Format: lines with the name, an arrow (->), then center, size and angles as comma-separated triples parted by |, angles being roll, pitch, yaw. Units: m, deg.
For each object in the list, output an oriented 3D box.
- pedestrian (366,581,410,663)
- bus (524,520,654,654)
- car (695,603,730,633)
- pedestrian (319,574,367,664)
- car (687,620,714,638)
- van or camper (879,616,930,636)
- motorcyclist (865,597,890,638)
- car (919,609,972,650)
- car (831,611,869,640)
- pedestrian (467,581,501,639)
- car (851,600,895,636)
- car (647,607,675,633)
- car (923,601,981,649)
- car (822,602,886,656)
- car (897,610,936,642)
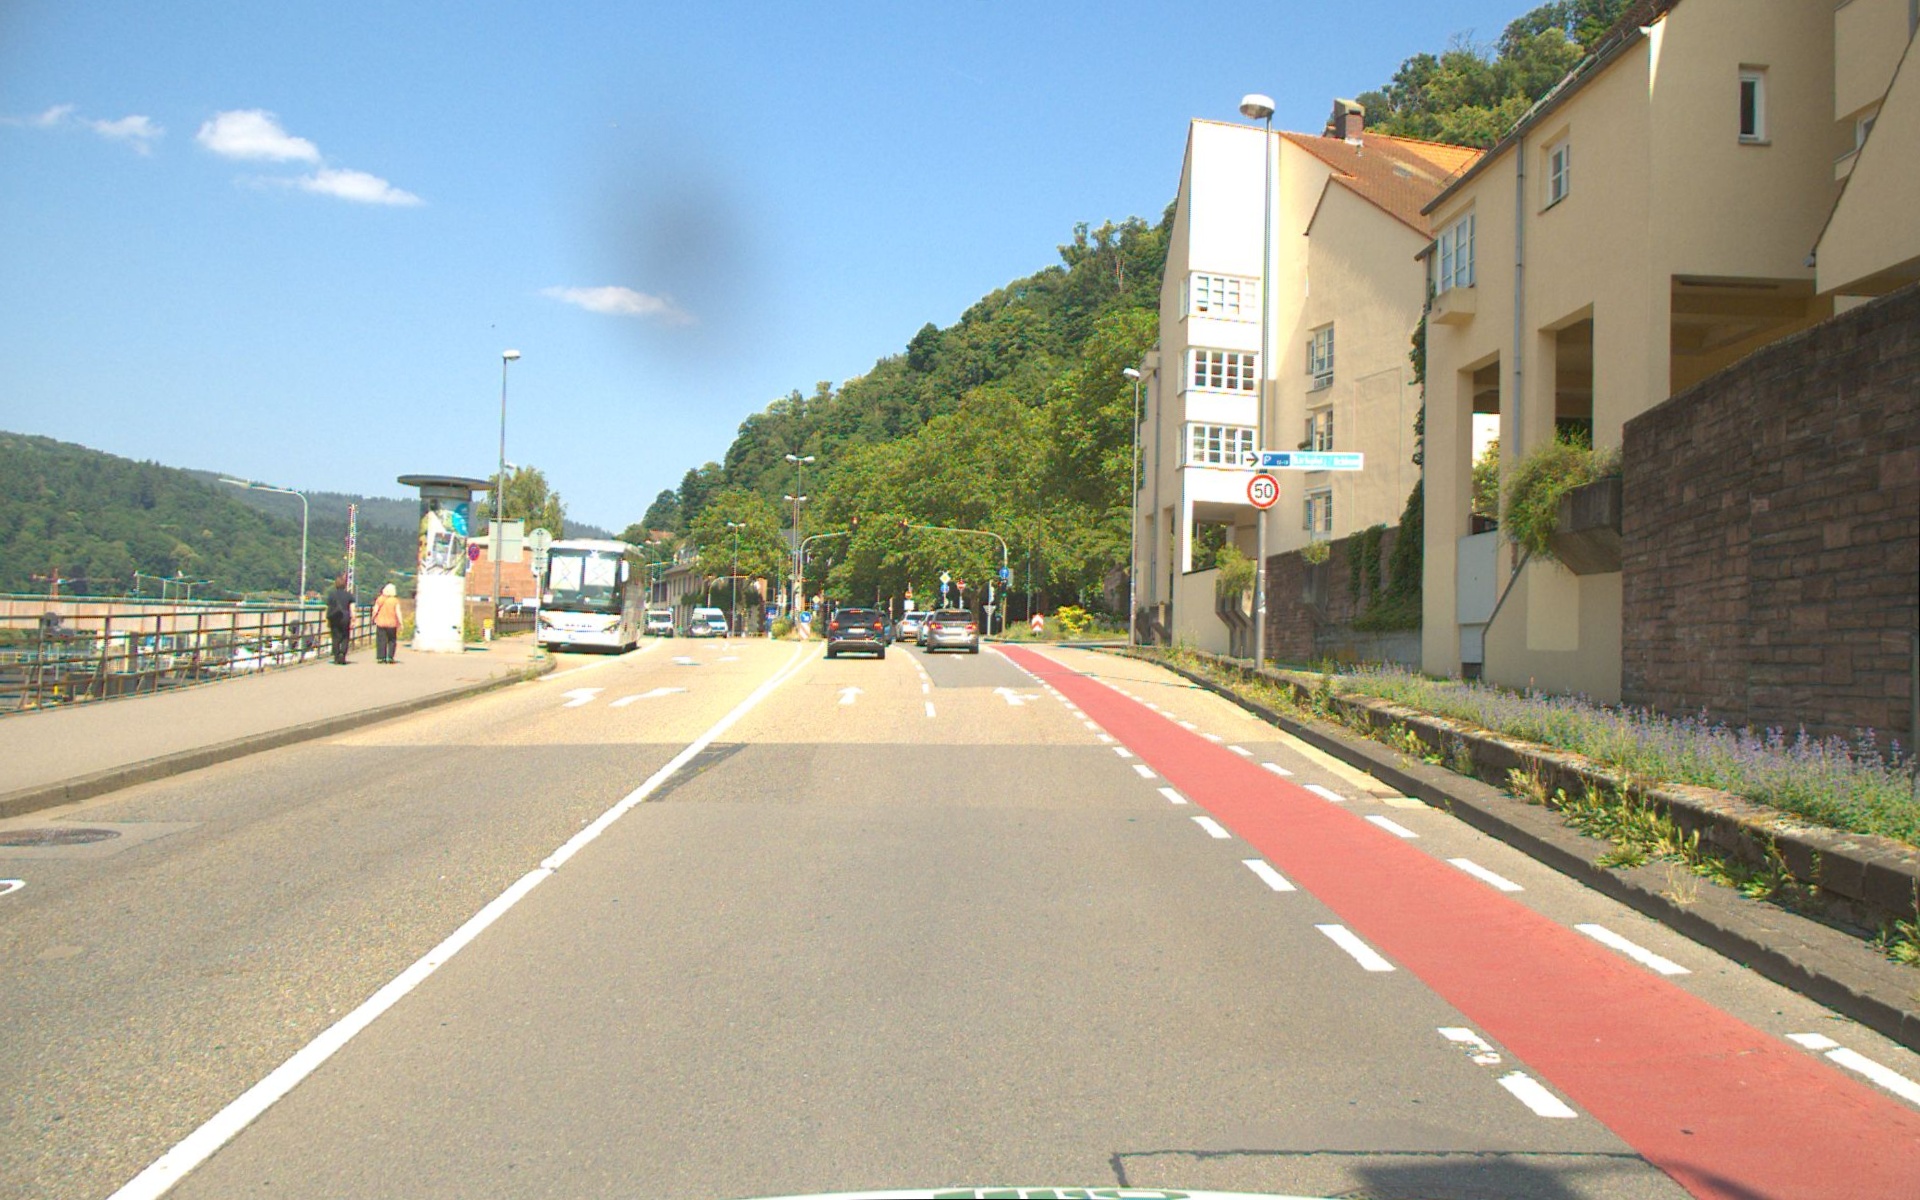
pedestrian -> -11.680, 0.445, 33.778 | 0.690, 1.649, 0.815 | 1, -1, -11
bus -> -12.592, -0.365, 57.295 | 2.901, 3.866, 13.220 | 5, -1, -8
car -> -22.000, 1.608, 146.936 | 2.345, 2.622, 6.027 | 0, -1, -16
pedestrian -> -12.106, 0.372, 32.472 | 0.669, 1.739, 0.772 | 1, -1, -5
car -> -21.399, 2.370, 136.462 | 1.959, 1.457, 4.153 | 0, 0, -13
van or camper -> -5.329, 2.521, 158.896 | 4.445, 1.935, 2.002 | 0, -1, 13
motorcyclist -> -3.436, 0.727, 68.916 | 1.054, 1.714, 1.155 | 0, 0, -4
car -> -0.626, 1.190, 67.873 | 1.954, 1.560, 4.855 | 1, -1, -3
car -> -5.523, 1.261, 82.923 | 1.830, 1.382, 3.996 | 0, 0, -5
pedestrian -> -15.247, 0.338, 52.961 | 0.876, 1.827, 1.038 | 1, -1, -9
car -> -3.994, 0.814, 75.342 | 1.830, 1.589, 3.996 | 0, 0, -5
car -> -24.788, 1.666, 137.127 | 2.175, 2.115, 5.028 | 0, 0, -12
car -> -0.337, 0.890, 58.654 | 1.850, 1.548, 4.303 | 2, -1, -3
car -> -3.222, 0.898, 51.036 | 1.832, 1.540, 4.148 | 2, -1, -3
car -> -2.226, 1.324, 83.048 | 1.750, 1.559, 4.733 | 0, -1, -4
